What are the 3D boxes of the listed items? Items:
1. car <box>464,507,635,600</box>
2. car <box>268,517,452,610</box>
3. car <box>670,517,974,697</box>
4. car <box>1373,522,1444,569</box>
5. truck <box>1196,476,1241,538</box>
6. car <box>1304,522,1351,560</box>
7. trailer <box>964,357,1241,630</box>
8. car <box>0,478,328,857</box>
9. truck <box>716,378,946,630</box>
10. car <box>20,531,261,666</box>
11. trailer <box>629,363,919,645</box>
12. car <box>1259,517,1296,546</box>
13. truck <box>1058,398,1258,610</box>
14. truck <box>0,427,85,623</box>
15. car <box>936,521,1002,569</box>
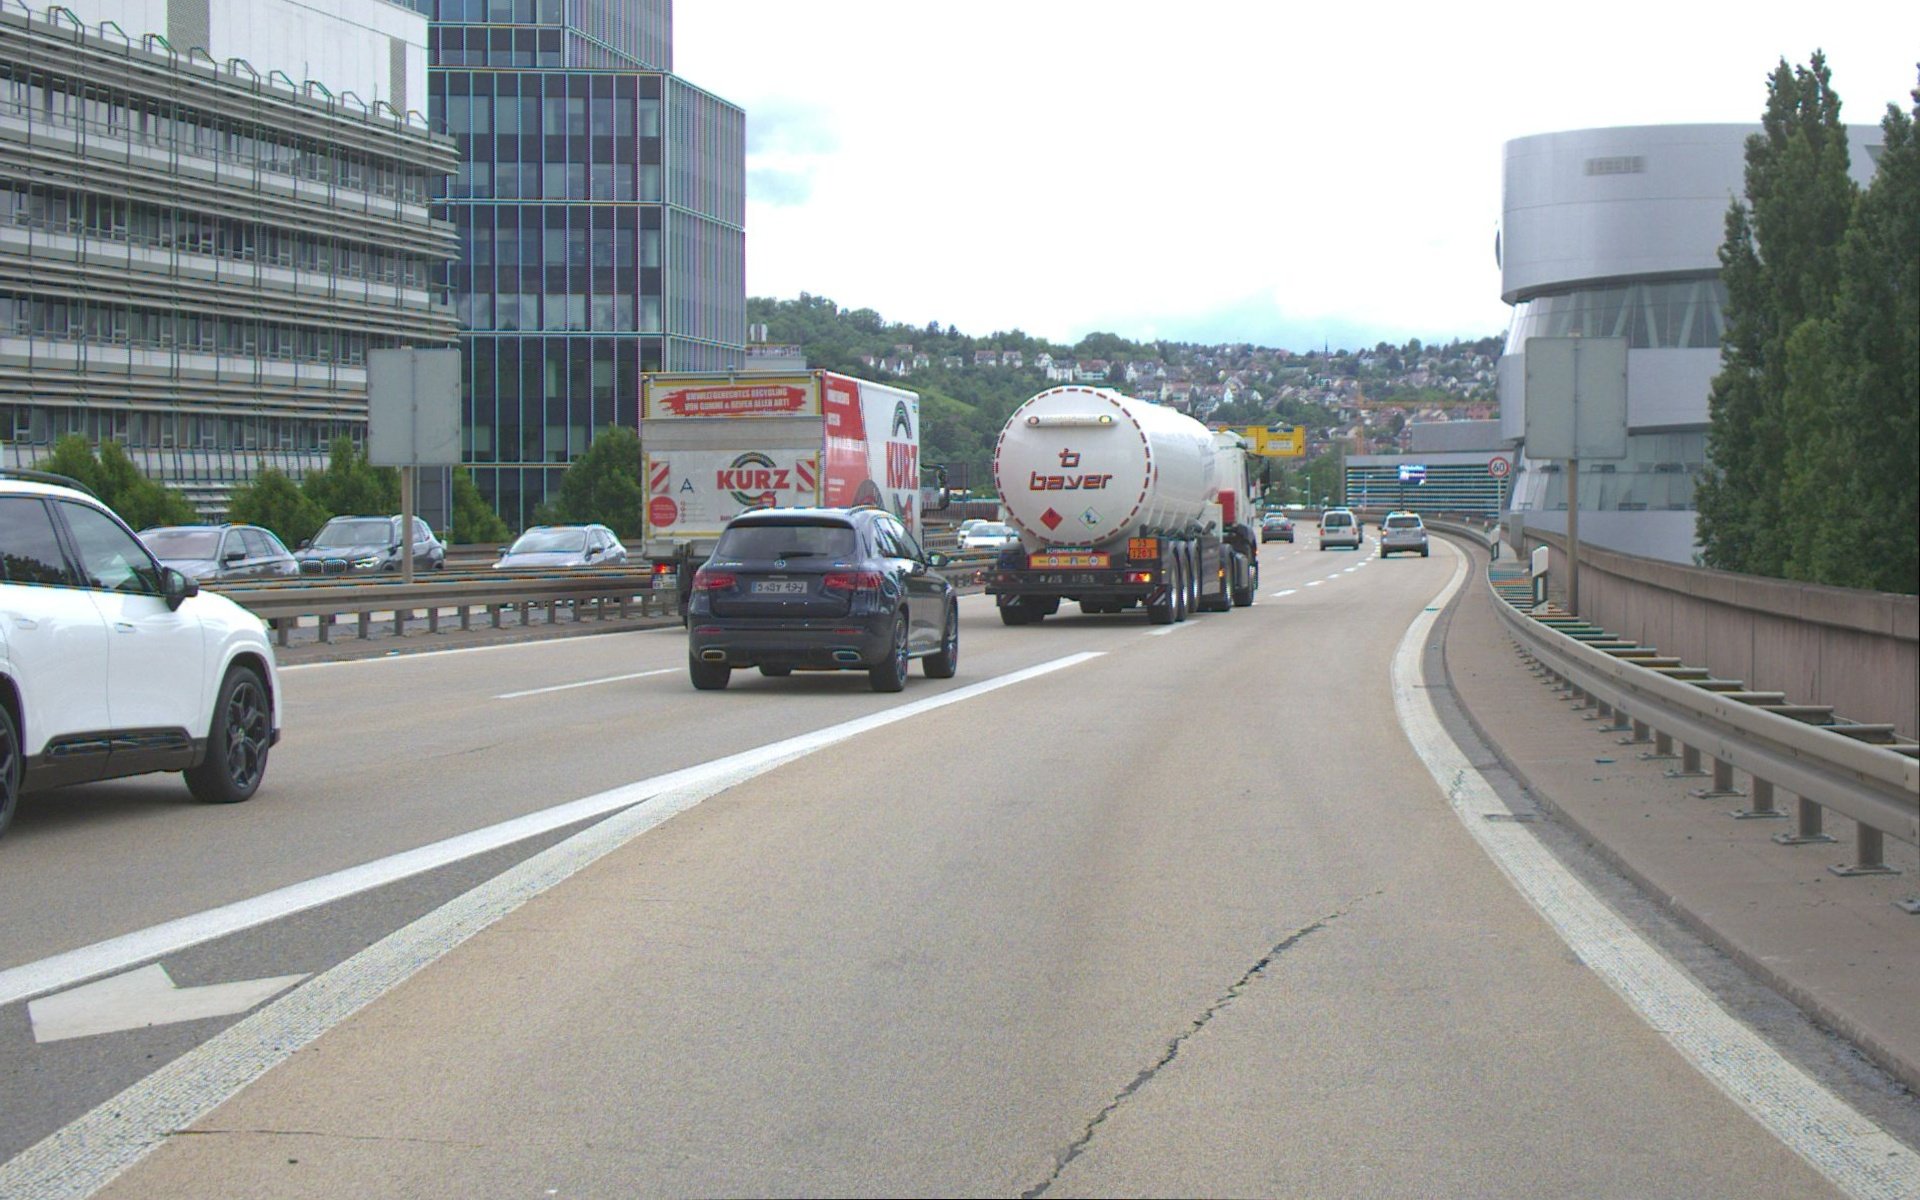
[{"bbox_3d":[-7.645,-0.905,64.458,1.994,1.630,4.452,-2,1,9],"label":"car"},{"bbox_3d":[-11.358,-0.725,65.366,1.994,1.630,4.630,-2,1,9],"label":"car"},{"bbox_3d":[-1.175,0.024,31.366,1.847,1.499,4.263,1,1,11],"label":"car"},{"bbox_3d":[17.266,-2.077,132.157,1.995,1.532,3.997,6,1,16],"label":"car"},{"bbox_3d":[16.764,-6.008,222.637,2.395,3.880,5.941,-2,1,9],"label":"truck"},{"bbox_3d":[17.077,-2.749,159.723,1.994,1.533,3.999,5,0,5],"label":"car"},{"bbox_3d":[2.431,-1.628,53.428,2.793,3.724,11.151,-2,1,10],"label":"trailer"},{"bbox_3d":[-4.918,0.240,16.513,1.994,1.663,4.890,2,1,11],"label":"car"},{"bbox_3d":[-1.944,-1.485,53.594,2.691,3.677,4.438,-2,1,9],"label":"truck"},{"bbox_3d":[-10.412,-0.050,43.927,1.645,1.580,3.718,-2,1,9],"label":"car"},{"bbox_3d":[-2.536,-1.374,49.465,2.691,3.677,7.311,-2,1,8],"label":"trailer"},{"bbox_3d":[17.657,-3.783,191.226,1.994,1.533,3.999,0,0,5],"label":"car"},{"bbox_3d":[3.521,-1.663,59.790,2.770,3.418,5.963,-2,1,9],"label":"truck"},{"bbox_3d":[-14.291,-0.939,45.079,2.492,2.617,7.345,-1,1,11],"label":"truck"},{"bbox_3d":[0.327,-1.917,119.224,1.749,1.555,3.999,-2,1,7],"label":"car"}]
